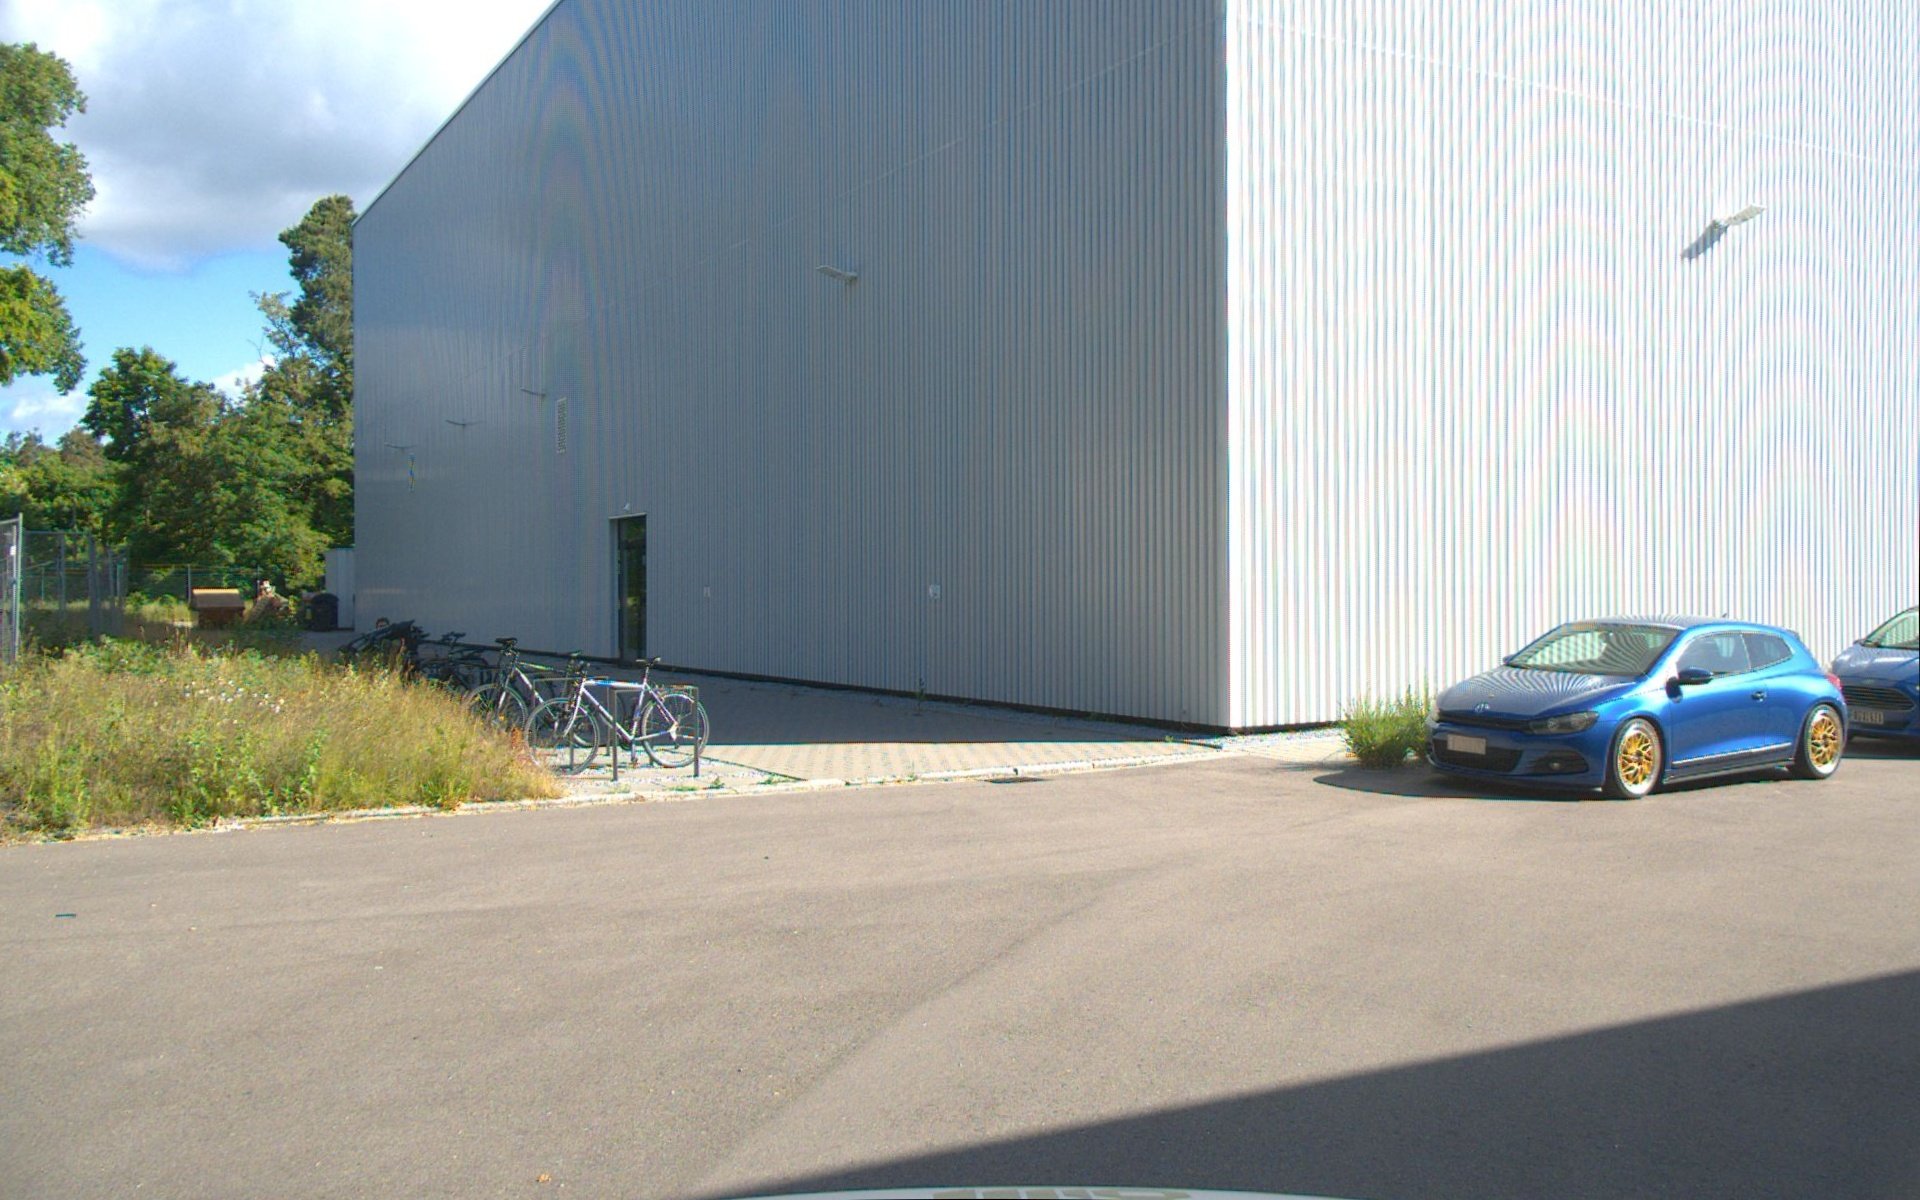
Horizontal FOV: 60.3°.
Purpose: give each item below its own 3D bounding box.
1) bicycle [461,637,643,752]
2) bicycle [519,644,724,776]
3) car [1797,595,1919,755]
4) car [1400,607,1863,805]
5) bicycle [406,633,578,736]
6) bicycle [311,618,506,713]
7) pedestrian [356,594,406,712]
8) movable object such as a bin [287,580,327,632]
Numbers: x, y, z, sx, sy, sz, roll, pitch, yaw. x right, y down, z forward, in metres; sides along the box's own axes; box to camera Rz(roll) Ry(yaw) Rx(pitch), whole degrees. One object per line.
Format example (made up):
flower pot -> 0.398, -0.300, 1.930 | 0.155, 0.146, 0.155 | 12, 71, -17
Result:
bicycle -> -4.219, 0.960, 17.153 | 1.772, 1.101, 0.519 | 0, 0, -29
bicycle -> -3.030, 0.962, 14.899 | 1.785, 1.080, 0.453 | 0, 0, -36
car -> 10.371, 0.697, 16.885 | 3.717, 1.472, 1.607 | 0, 1, -33
car -> 5.700, 0.787, 13.926 | 3.902, 1.373, 1.656 | 0, 2, -32
bicycle -> -5.461, 0.964, 19.355 | 1.869, 1.114, 0.520 | -1, -1, -32
bicycle -> -8.096, 0.931, 24.277 | 2.598, 1.288, 1.131 | 0, 0, -27
pedestrian -> -8.723, 0.790, 24.937 | 0.500, 1.758, 0.636 | 0, 0, 3
movable object such as a bin -> -26.201, 0.226, 66.337 | 1.401, 2.049, 1.116 | 0, 0, -26
